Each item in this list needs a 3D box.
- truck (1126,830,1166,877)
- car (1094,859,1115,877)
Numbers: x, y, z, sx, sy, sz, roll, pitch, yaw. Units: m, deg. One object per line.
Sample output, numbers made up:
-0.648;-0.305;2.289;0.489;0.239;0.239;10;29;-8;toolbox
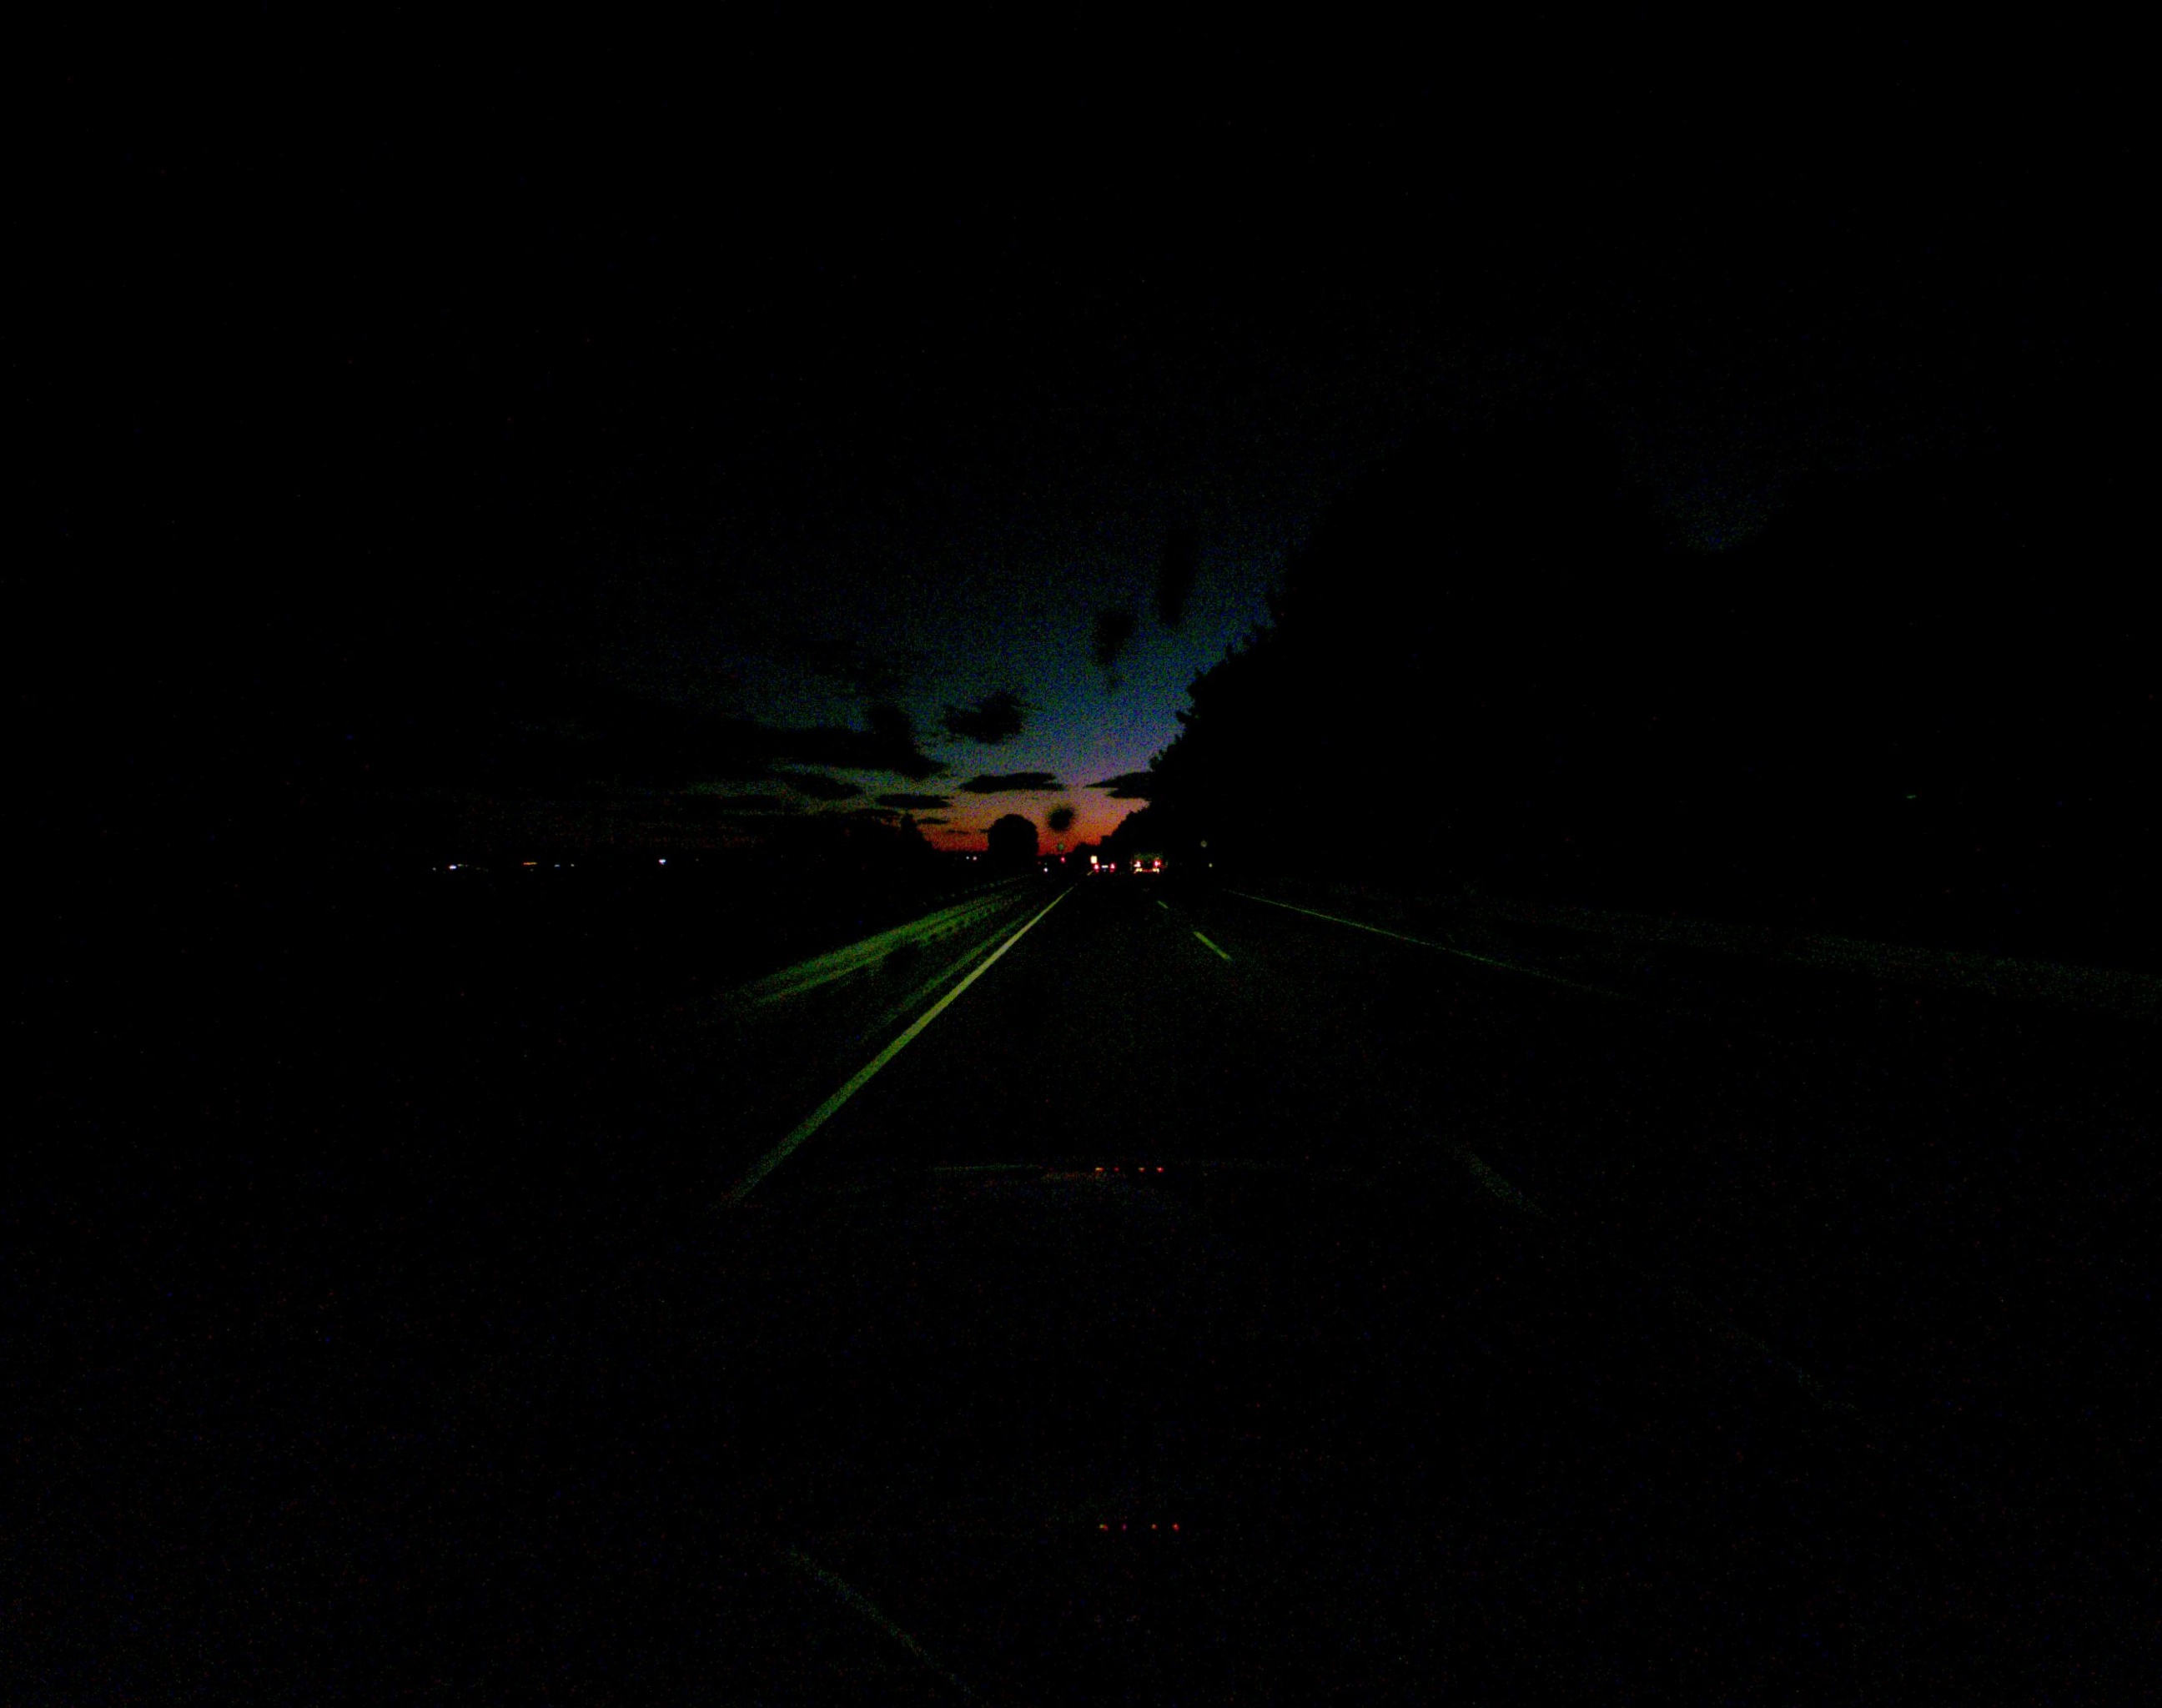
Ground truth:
6.042;0.002;77.896;2.873;4.106;12.682;-1;0;0;truck
2.004;1.199;69.215;1.690;1.452;3.914;-1;0;0;car
